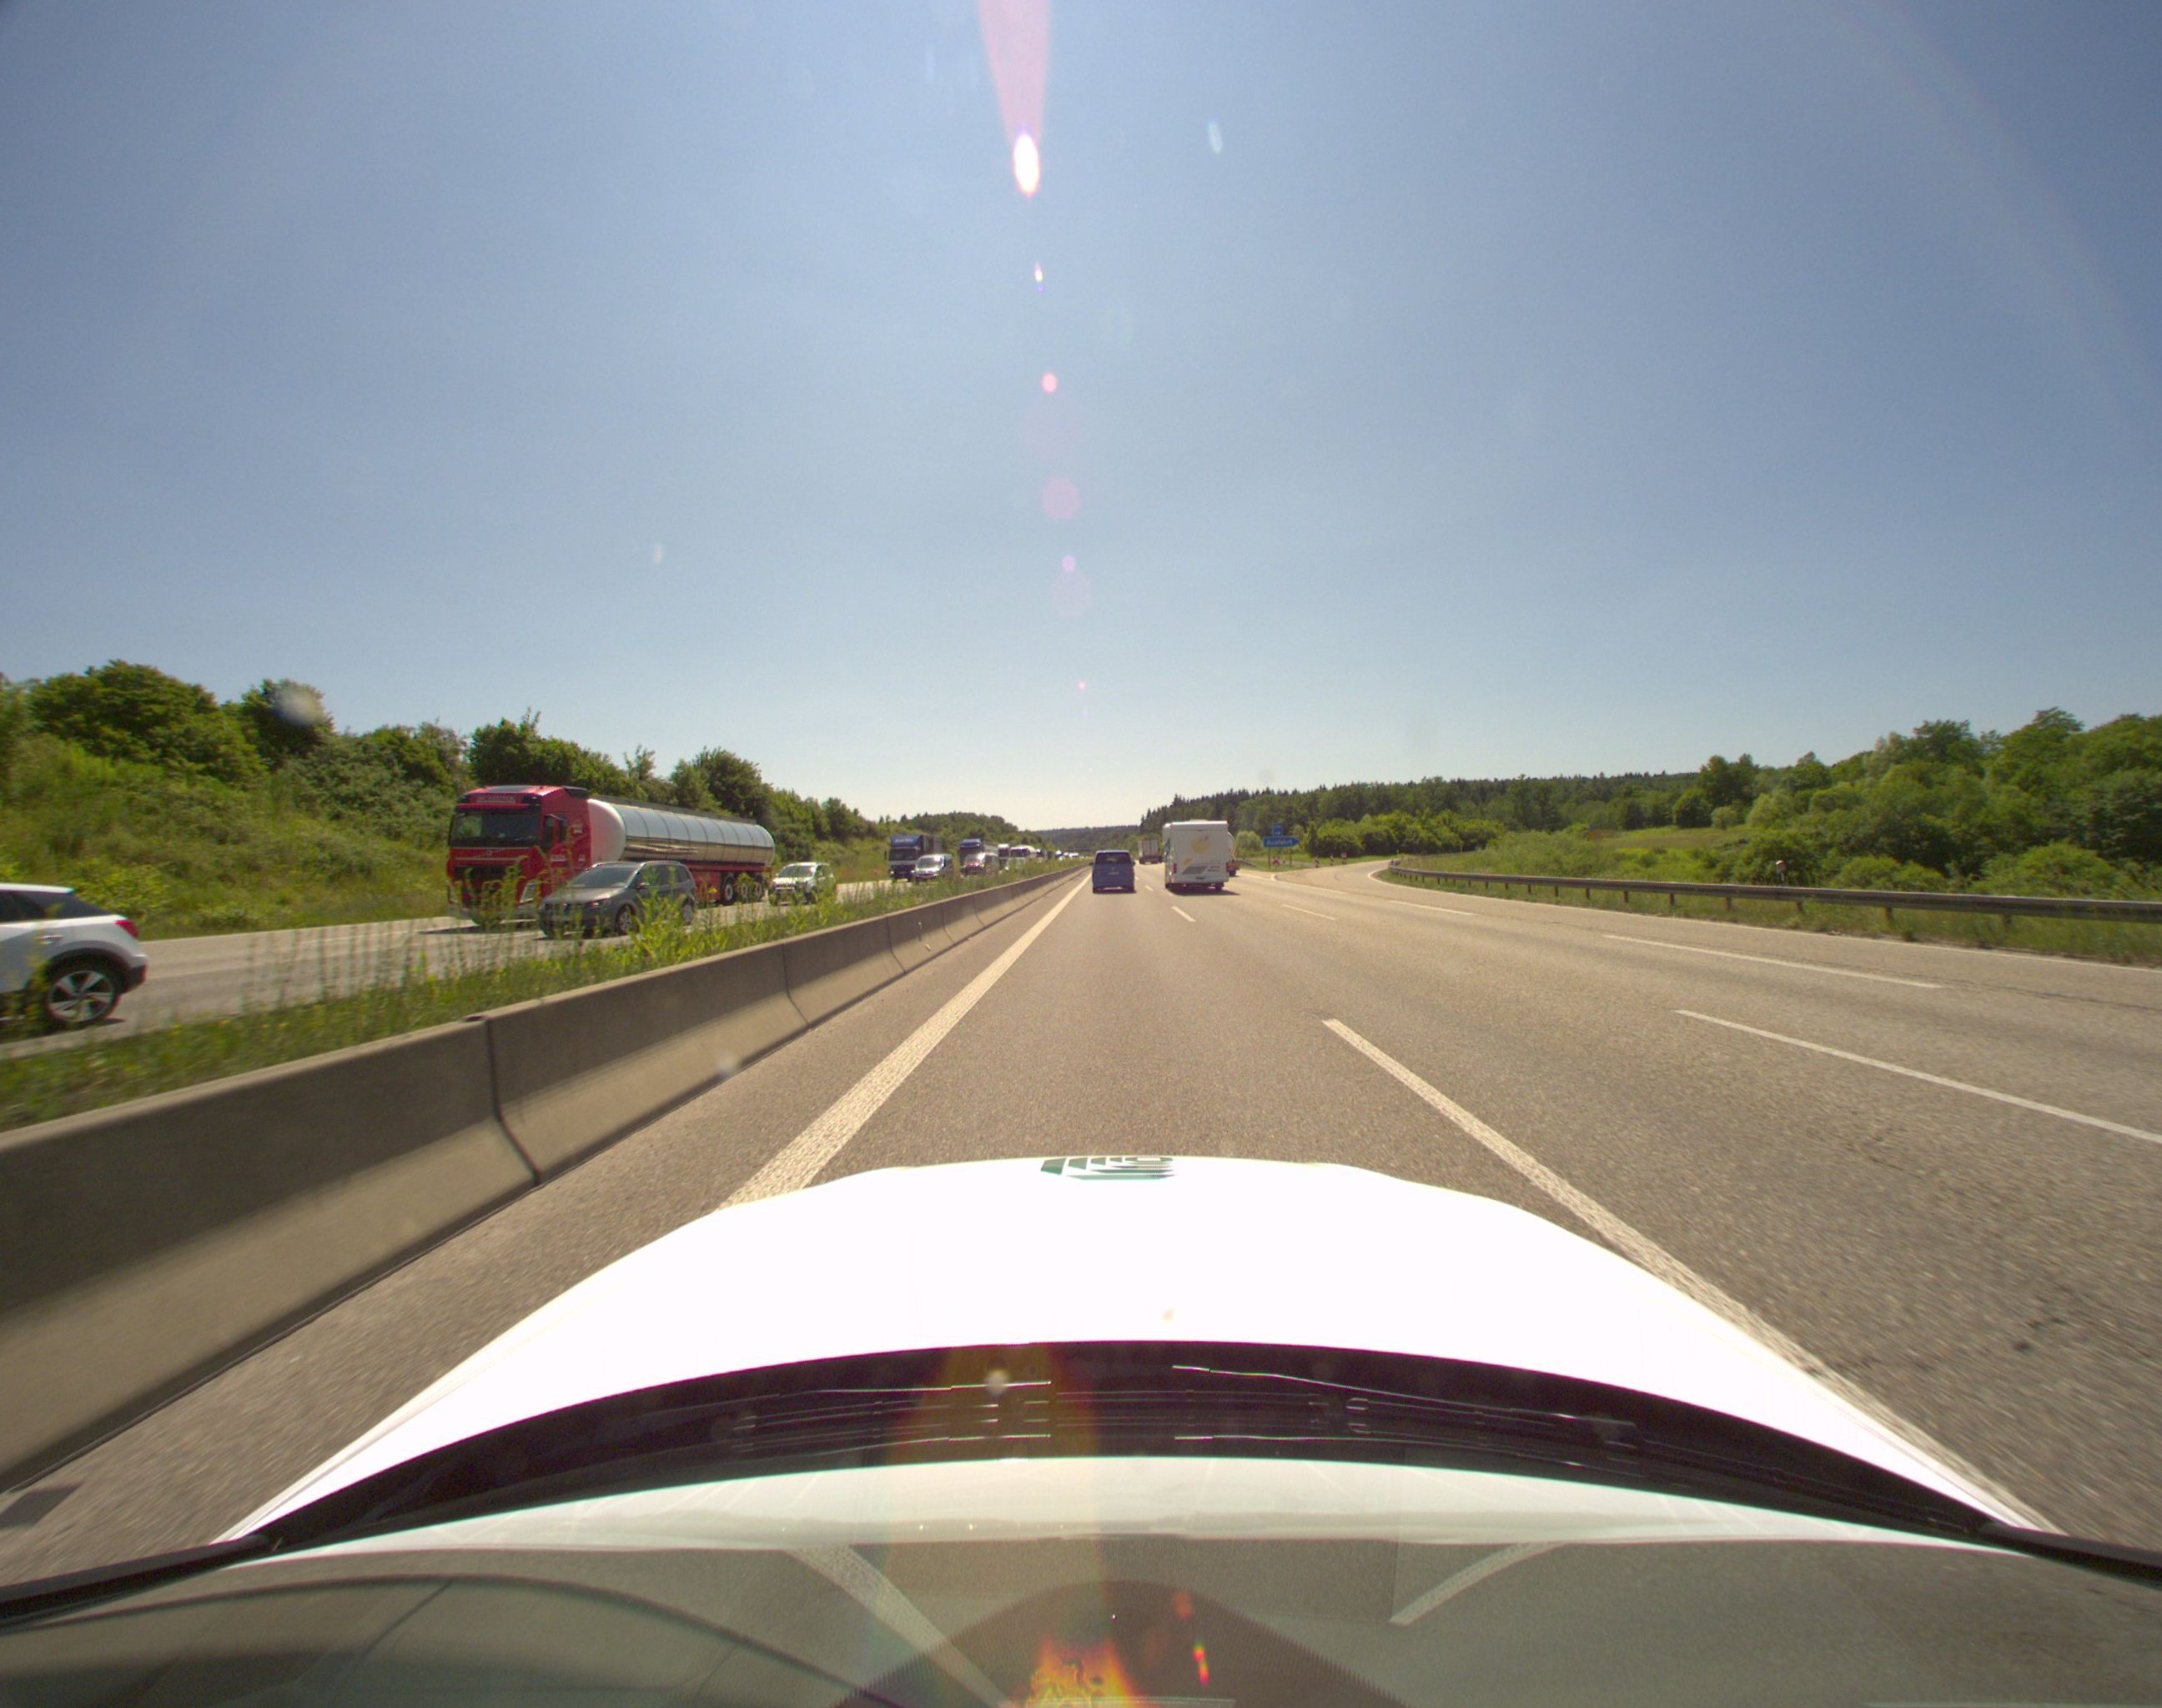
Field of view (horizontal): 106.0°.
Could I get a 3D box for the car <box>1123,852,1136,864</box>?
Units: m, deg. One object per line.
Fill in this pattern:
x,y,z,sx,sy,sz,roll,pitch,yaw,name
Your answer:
7.209,0.635,120.475,1.811,1.794,3.895,0,-1,2,car

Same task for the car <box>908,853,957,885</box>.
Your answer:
-9.475,0.954,52.440,2.016,1.958,5.096,-1,-1,2,car

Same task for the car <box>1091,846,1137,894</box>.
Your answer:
1.518,0.691,37.405,1.902,2.013,4.002,-2,0,2,car

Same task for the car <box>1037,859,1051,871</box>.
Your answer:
-6.459,1.882,142.666,2.077,2.063,5.062,-1,-1,3,car

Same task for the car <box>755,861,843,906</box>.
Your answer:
-10.764,1.081,31.435,1.747,1.550,4.191,2,-1,2,car

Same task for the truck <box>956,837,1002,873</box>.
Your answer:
-12.515,0.125,101.229,3.565,4.093,12.584,-1,0,2,truck

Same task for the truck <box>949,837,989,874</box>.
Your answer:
-12.754,0.188,93.435,3.477,4.037,6.646,0,-1,2,truck

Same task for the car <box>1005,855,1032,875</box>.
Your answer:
-5.213,0.939,68.226,1.747,1.584,4.856,-1,-1,2,car

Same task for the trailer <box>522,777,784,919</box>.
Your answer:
-14.614,-0.142,29.690,2.670,3.950,12.277,-4,0,1,trailer

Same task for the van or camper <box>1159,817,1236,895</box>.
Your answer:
4.947,0.111,35.847,2.593,3.079,7.184,0,-1,2,van or camper

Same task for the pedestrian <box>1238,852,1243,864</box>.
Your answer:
26.845,0.650,137.400,0.685,2.080,0.928,0,-1,2,pedestrian

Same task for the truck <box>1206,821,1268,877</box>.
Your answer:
10.815,-0.358,57.323,2.916,3.575,8.531,-2,0,2,truck

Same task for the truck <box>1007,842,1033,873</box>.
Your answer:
-8.038,0.502,108.148,2.608,3.890,7.405,-2,-1,2,truck

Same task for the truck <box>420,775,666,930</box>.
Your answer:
-14.818,-0.002,23.133,2.772,3.823,6.034,0,-1,2,truck

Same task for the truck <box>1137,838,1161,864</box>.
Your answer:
11.020,-0.420,132.288,3.474,4.170,8.645,0,-1,2,truck

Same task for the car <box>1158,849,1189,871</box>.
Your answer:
6.725,0.422,59.440,1.902,1.475,4.002,-2,-1,2,car

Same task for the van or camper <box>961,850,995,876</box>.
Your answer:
-9.191,0.844,73.145,1.986,2.153,5.956,-2,-1,1,van or camper

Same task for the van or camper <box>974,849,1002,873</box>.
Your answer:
-9.000,0.710,78.849,1.986,2.153,4.719,-2,-1,1,van or camper

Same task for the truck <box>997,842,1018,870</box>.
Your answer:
-11.182,0.327,124.455,2.079,4.029,7.882,0,-1,2,truck

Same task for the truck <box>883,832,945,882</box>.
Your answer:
-13.286,0.271,65.673,2.535,3.675,9.941,-1,-1,2,truck

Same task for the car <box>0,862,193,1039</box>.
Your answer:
-10.904,0.901,6.912,1.875,1.627,4.360,-1,-1,2,car

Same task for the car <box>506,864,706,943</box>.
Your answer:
-10.876,1.049,19.139,1.747,1.584,4.787,-1,-1,2,car
